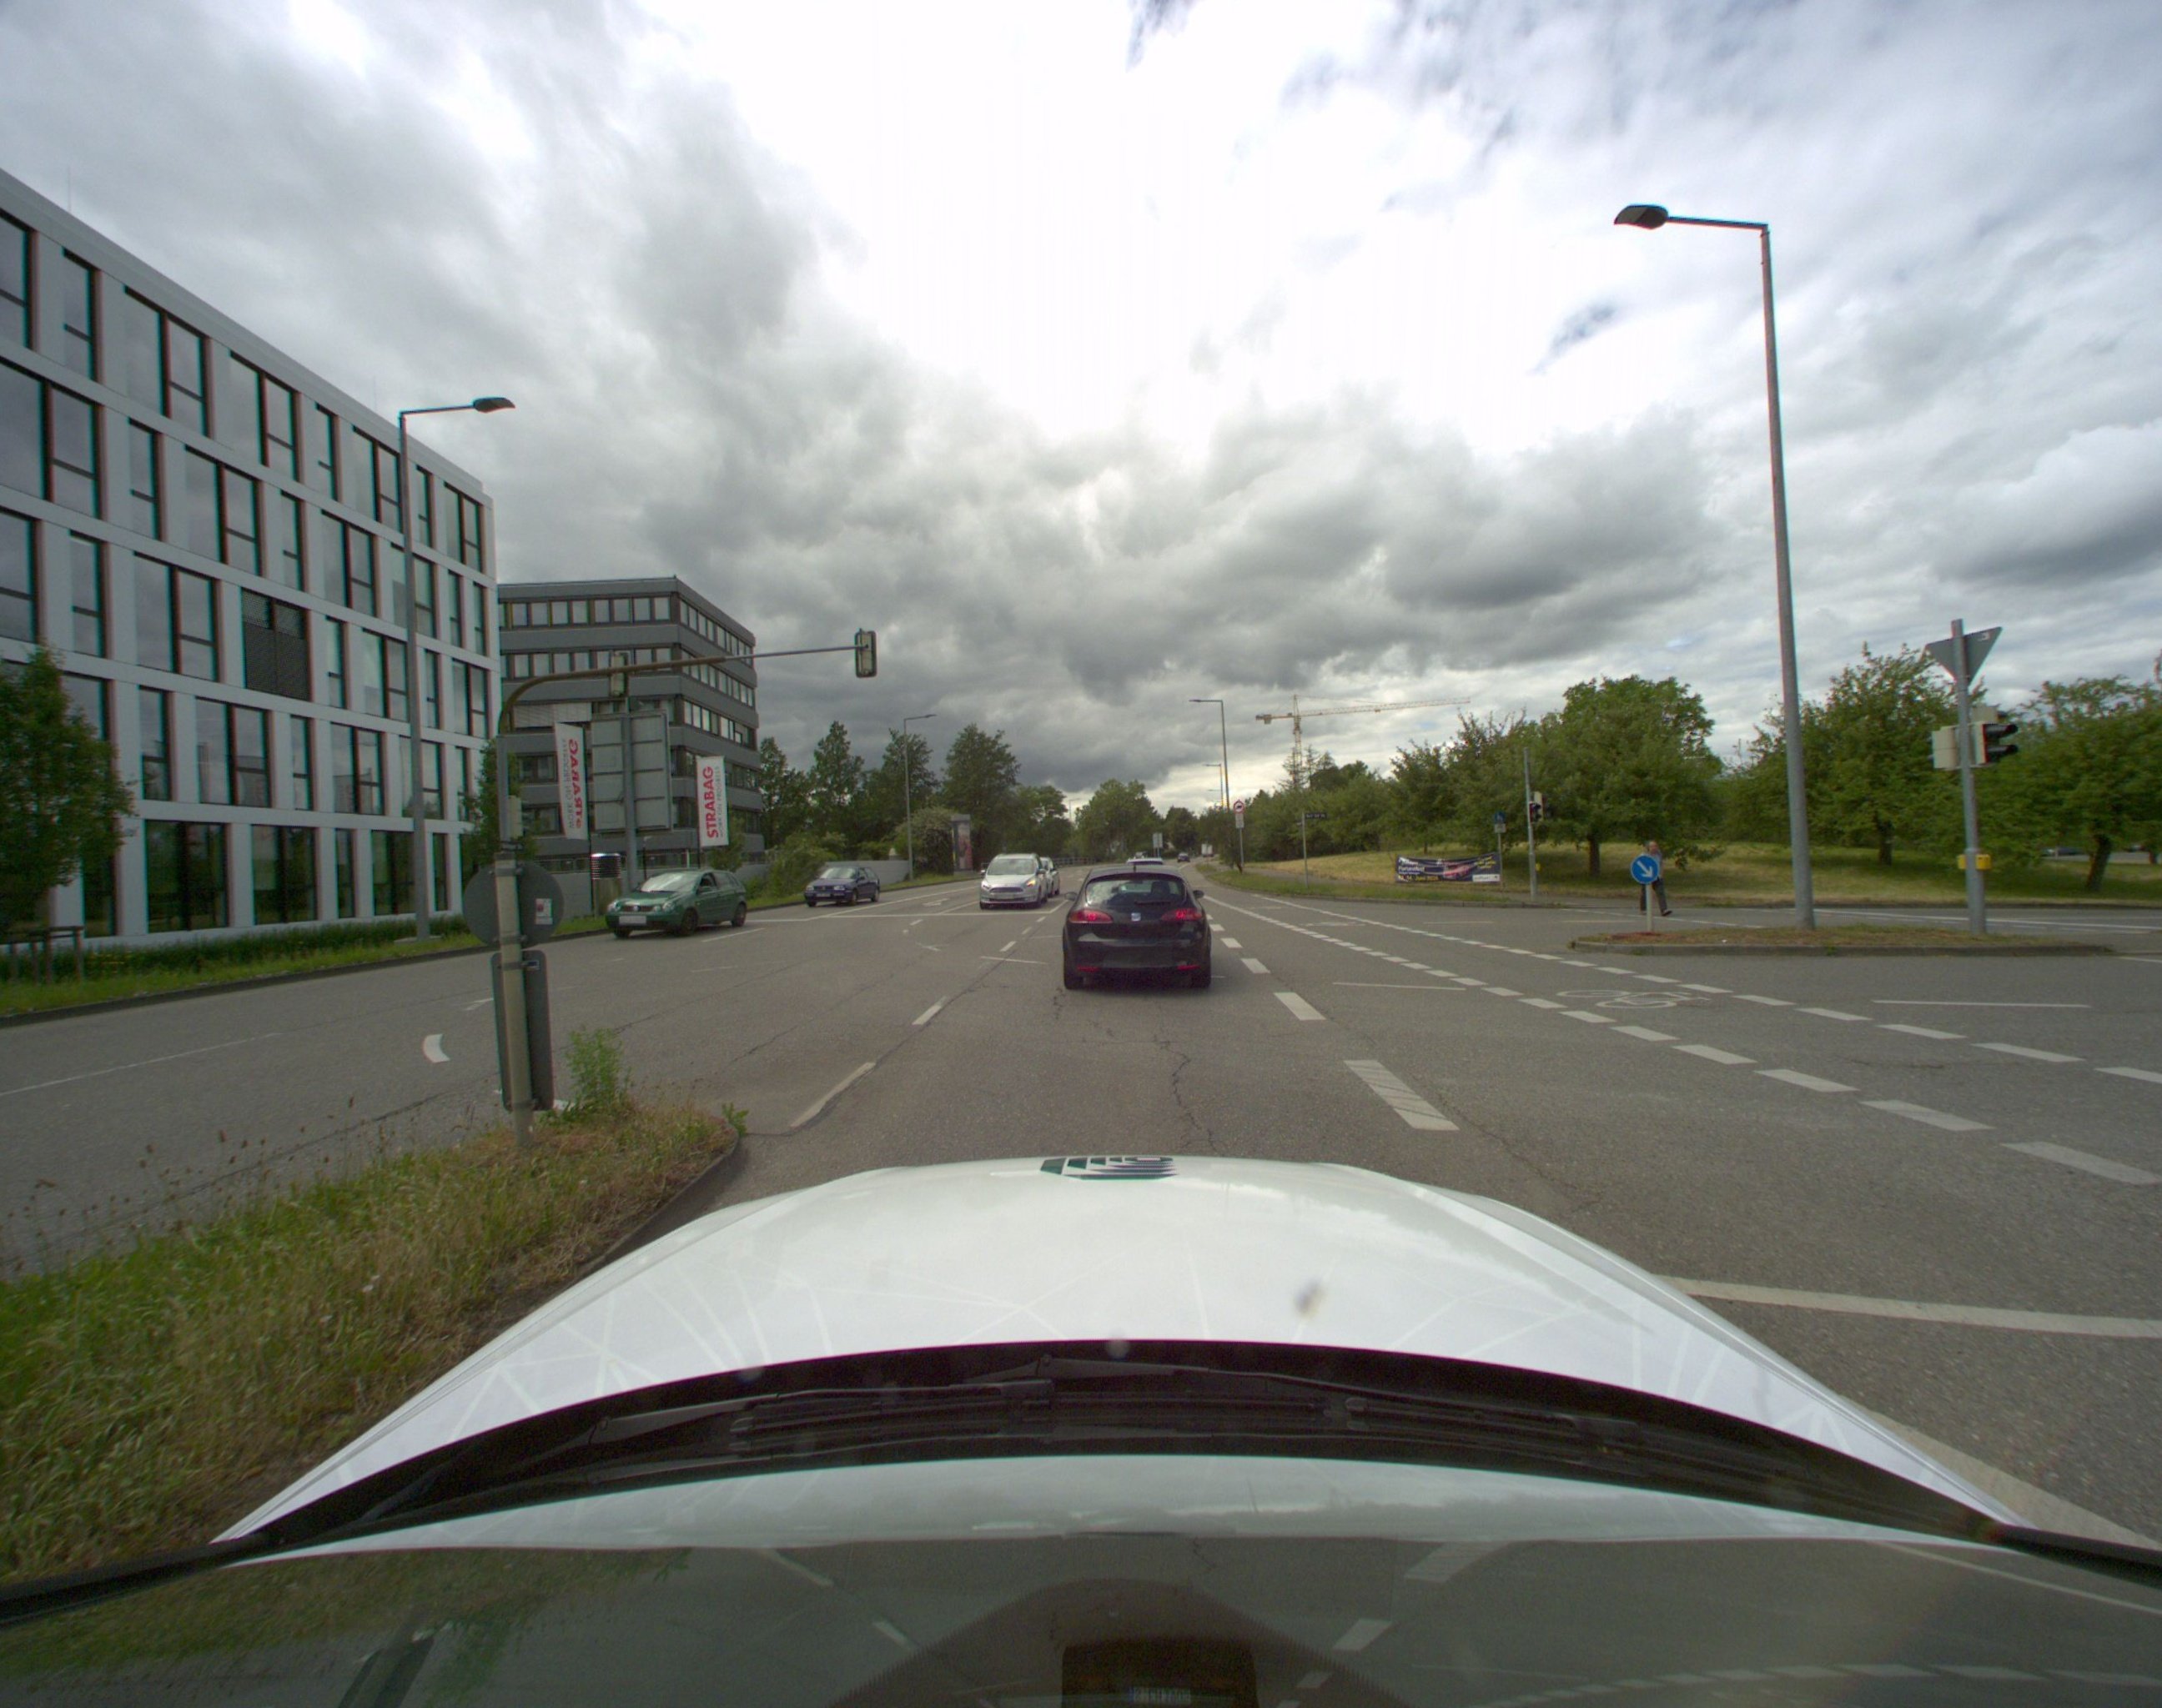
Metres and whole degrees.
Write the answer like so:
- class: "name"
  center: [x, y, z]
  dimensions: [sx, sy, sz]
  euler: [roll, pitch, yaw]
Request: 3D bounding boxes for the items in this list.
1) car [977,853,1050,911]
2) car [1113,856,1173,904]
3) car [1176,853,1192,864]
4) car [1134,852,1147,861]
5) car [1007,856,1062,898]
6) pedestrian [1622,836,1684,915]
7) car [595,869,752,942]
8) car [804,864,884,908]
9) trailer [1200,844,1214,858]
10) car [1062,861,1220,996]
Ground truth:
- class: "car"
  center: [-2.102, 0.826, 26.609]
  dimensions: [1.813, 1.686, 4.647]
  euler: [-1, 0, 2]
- class: "car"
  center: [2.021, 0.848, 27.485]
  dimensions: [1.828, 1.467, 3.751]
  euler: [-1, -1, 1]
- class: "car"
  center: [16.009, 0.683, 126.598]
  dimensions: [1.980, 1.565, 4.485]
  euler: [-2, 0, 12]
- class: "car"
  center: [10.913, 0.469, 149.359]
  dimensions: [1.703, 1.581, 3.754]
  euler: [-1, -1, 12]
- class: "car"
  center: [-1.804, 0.865, 32.611]
  dimensions: [1.653, 1.518, 4.089]
  euler: [-1, 0, 4]
- class: "pedestrian"
  center: [13.381, 0.499, 19.067]
  dimensions: [0.715, 1.793, 1.044]
  euler: [-1, -1, 3]
- class: "car"
  center: [-9.276, 1.113, 18.886]
  dimensions: [1.599, 1.432, 3.754]
  euler: [-1, 0, 2]
- class: "car"
  center: [-8.555, 1.121, 29.707]
  dimensions: [1.547, 1.419, 3.899]
  euler: [-1, 0, 3]
- class: "trailer"
  center: [29.006, -0.759, 187.377]
  dimensions: [2.473, 3.073, 5.607]
  euler: [-1, -1, 14]
- class: "car"
  center: [0.658, 0.823, 10.616]
  dimensions: [1.706, 1.417, 3.458]
  euler: [-1, 0, 0]
